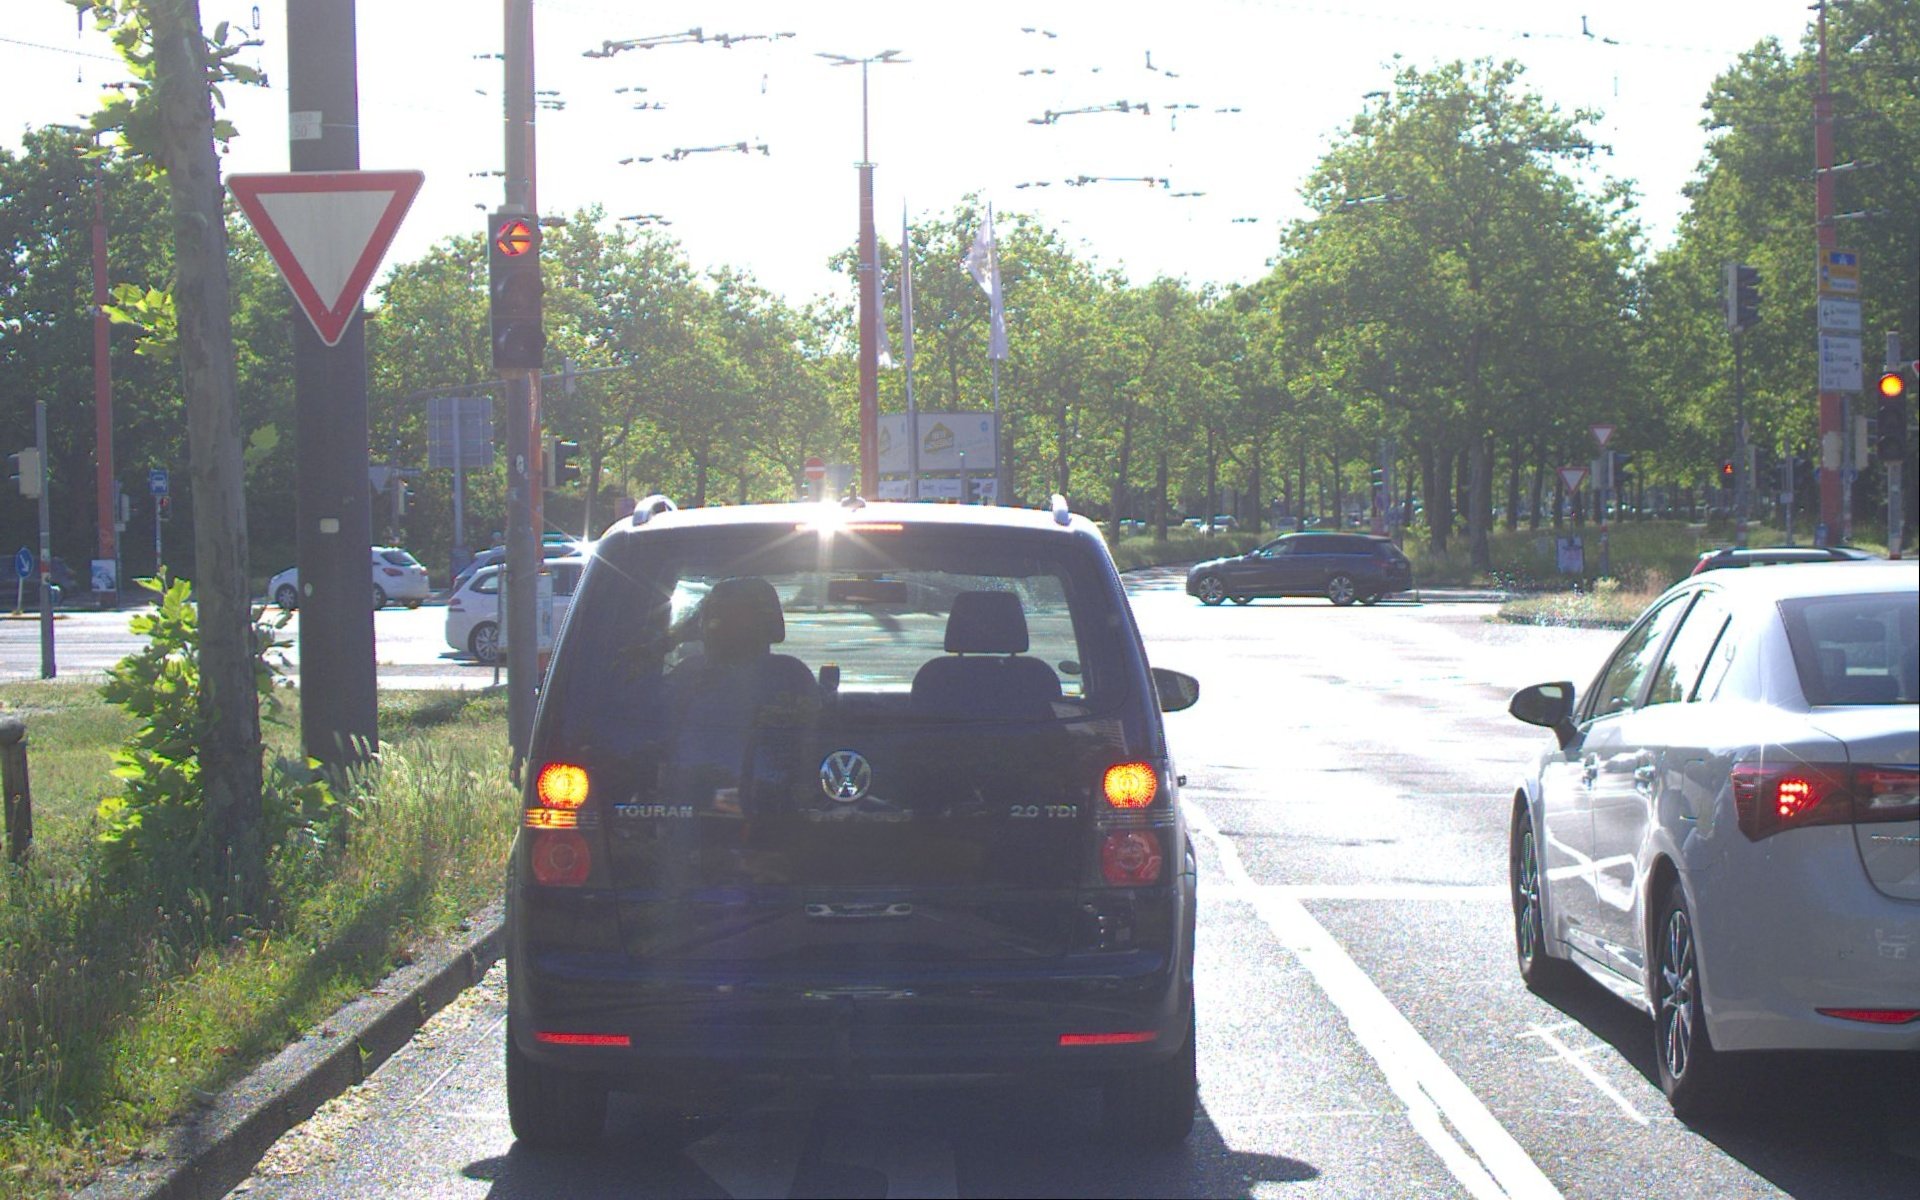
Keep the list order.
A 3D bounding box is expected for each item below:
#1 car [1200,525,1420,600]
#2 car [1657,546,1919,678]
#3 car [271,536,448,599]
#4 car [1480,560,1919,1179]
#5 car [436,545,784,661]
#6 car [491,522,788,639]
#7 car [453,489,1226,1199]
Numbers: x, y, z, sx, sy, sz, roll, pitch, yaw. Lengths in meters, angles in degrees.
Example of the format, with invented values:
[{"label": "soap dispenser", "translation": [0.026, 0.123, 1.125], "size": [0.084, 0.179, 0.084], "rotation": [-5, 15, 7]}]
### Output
[{"label": "car", "translation": [7.147, -0.786, 70.296], "size": [4.141, 1.505, 1.654], "rotation": [1, 1, 28]}, {"label": "car", "translation": [10.029, 0.114, 39.017], "size": [3.835, 1.436, 1.654], "rotation": [1, 1, 28]}, {"label": "car", "translation": [-14.251, -0.785, 81.521], "size": [3.919, 1.452, 1.654], "rotation": [1, 1, 26]}, {"label": "car", "translation": [2.755, 0.617, 10.159], "size": [1.799, 1.435, 4.326], "rotation": [1, 1, 1]}, {"label": "car", "translation": [-4.819, 0.009, 47.149], "size": [4.630, 1.514, 1.654], "rotation": [1, 1, 29]}, {"label": "car", "translation": [-4.830, -0.325, 51.618], "size": [4.335, 1.686, 1.654], "rotation": [1, 1, 32]}, {"label": "car", "translation": [-0.256, 0.536, 9.981], "size": [1.738, 1.597, 4.326], "rotation": [1, 1, 1]}]
